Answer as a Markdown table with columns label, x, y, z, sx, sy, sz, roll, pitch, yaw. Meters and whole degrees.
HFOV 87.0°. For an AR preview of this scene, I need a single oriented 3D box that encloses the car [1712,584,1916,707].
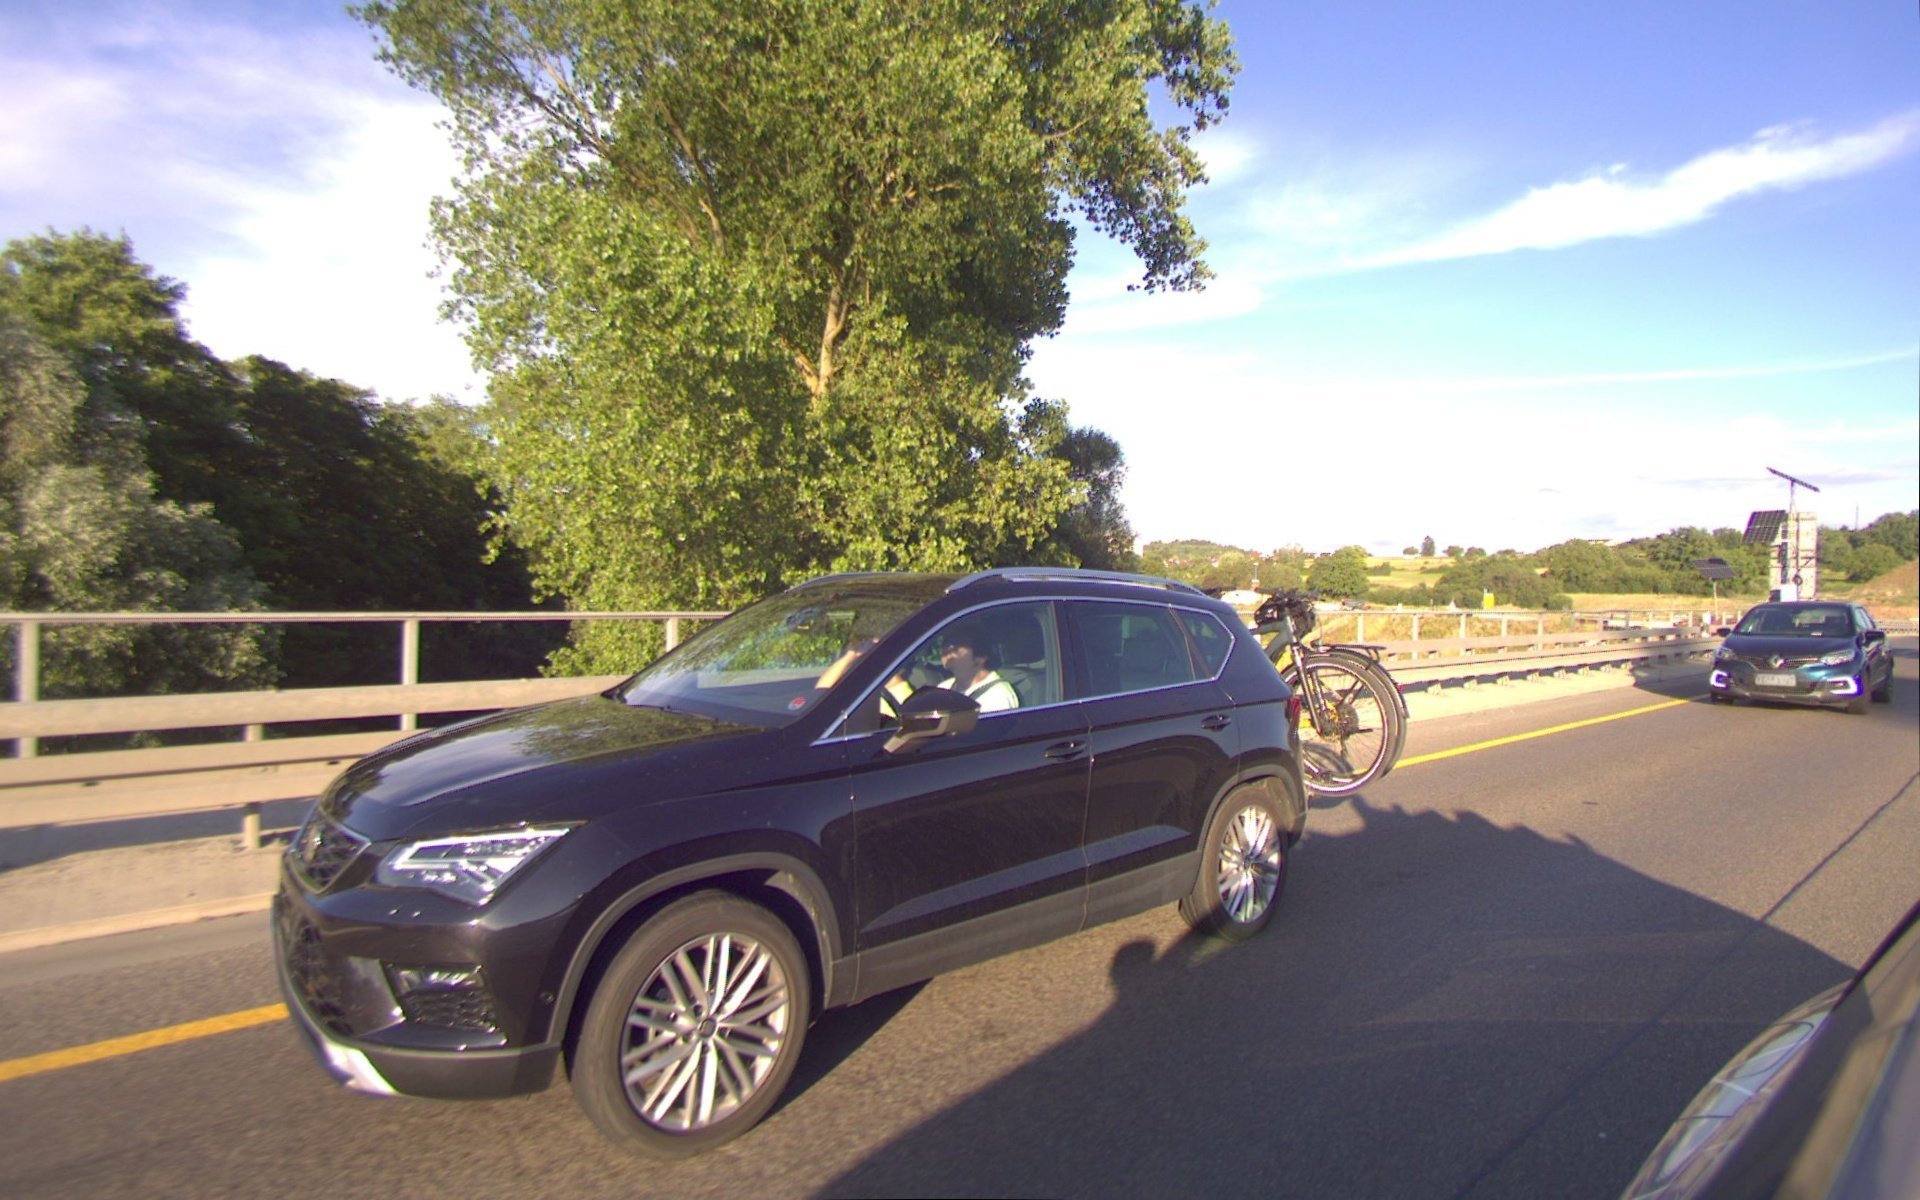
| label | x | y | z | sx | sy | sz | roll | pitch | yaw |
| --- | --- | --- | --- | --- | --- | --- | --- | --- | --- |
| car | 12.928 | 0.635 | 15.246 | 4.062 | 1.606 | 1.777 | 2 | -1 | -41 |

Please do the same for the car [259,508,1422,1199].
| label | x | y | z | sx | sy | sz | roll | pitch | yaw |
| --- | --- | --- | --- | --- | --- | --- | --- | --- | --- |
| car | -0.002 | 0.614 | 4.443 | 4.879 | 1.619 | 1.878 | 0 | 0 | -41 |
